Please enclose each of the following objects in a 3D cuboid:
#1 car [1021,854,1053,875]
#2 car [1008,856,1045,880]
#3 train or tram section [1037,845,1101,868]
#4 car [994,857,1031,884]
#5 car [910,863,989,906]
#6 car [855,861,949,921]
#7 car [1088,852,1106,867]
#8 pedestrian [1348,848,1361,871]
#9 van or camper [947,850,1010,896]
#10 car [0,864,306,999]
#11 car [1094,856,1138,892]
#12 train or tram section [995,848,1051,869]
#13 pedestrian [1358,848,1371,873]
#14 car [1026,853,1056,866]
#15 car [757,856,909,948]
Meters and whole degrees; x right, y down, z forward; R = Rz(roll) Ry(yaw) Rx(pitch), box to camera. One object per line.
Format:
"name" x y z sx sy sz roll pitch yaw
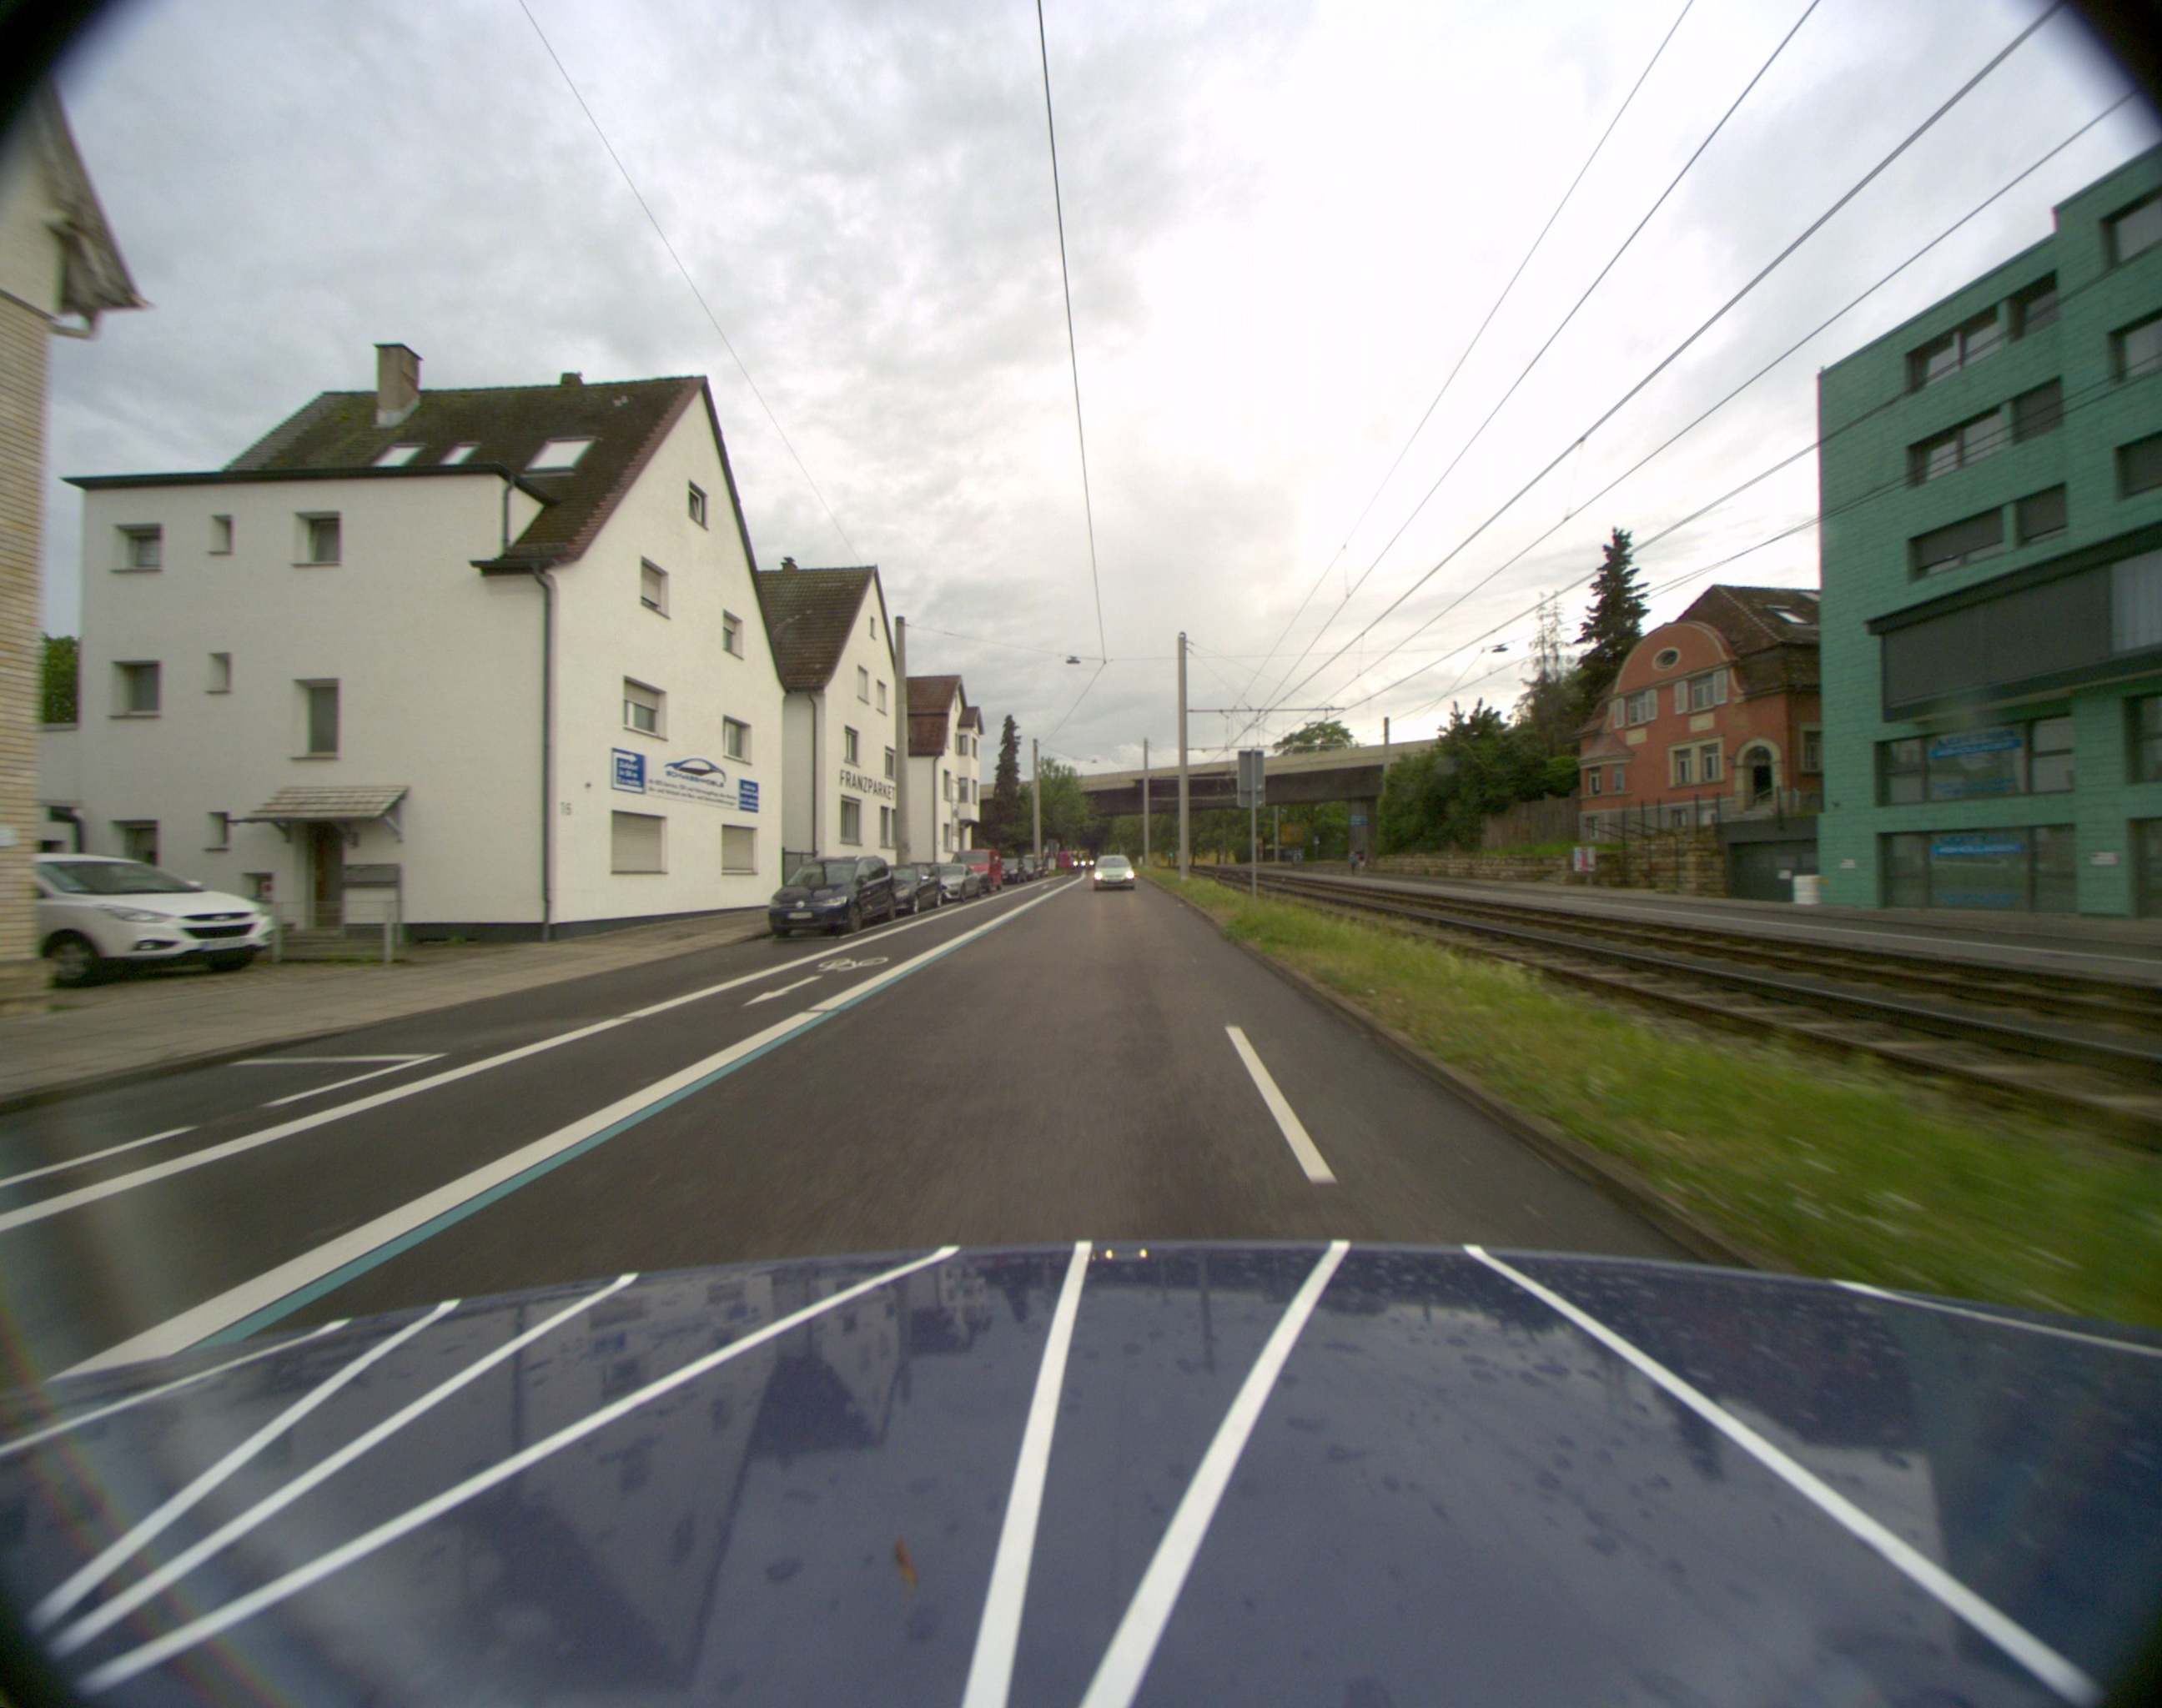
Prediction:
"car" -3.180 0.761 55.733 1.680 1.414 4.566 -2 0 4
"car" -3.530 0.883 49.883 1.716 1.404 4.566 -1 0 4
"train or tram section" -2.555 0.628 143.442 2.881 3.937 19.287 -3 0 -30
"car" -4.029 0.953 45.189 1.581 1.443 3.720 0 1 5
"car" -4.858 1.082 28.744 1.800 1.368 4.672 -1 0 5
"car" -5.300 1.038 23.022 1.638 1.529 4.136 -3 0 2
"car" 1.675 0.587 79.630 1.780 1.493 4.000 0 0 0
"pedestrian" 20.687 0.420 57.542 0.695 1.660 0.888 -2 -1 5
"van or camper" -4.521 0.777 34.253 1.855 1.909 4.995 0 0 3
"car" -13.358 0.955 10.202 3.997 1.644 1.871 0 0 0
"car" 1.509 0.868 33.273 1.780 1.492 4.001 0 -1 2
"train or tram section" -12.448 1.015 160.008 2.882 3.947 19.285 -3 0 -32
"pedestrian" 21.602 0.498 57.926 0.695 1.820 0.867 -2 0 3
"car" -4.820 0.690 91.792 1.798 1.513 3.743 -2 -1 31
"car" -5.699 1.012 18.147 1.844 1.790 4.687 -3 0 2
